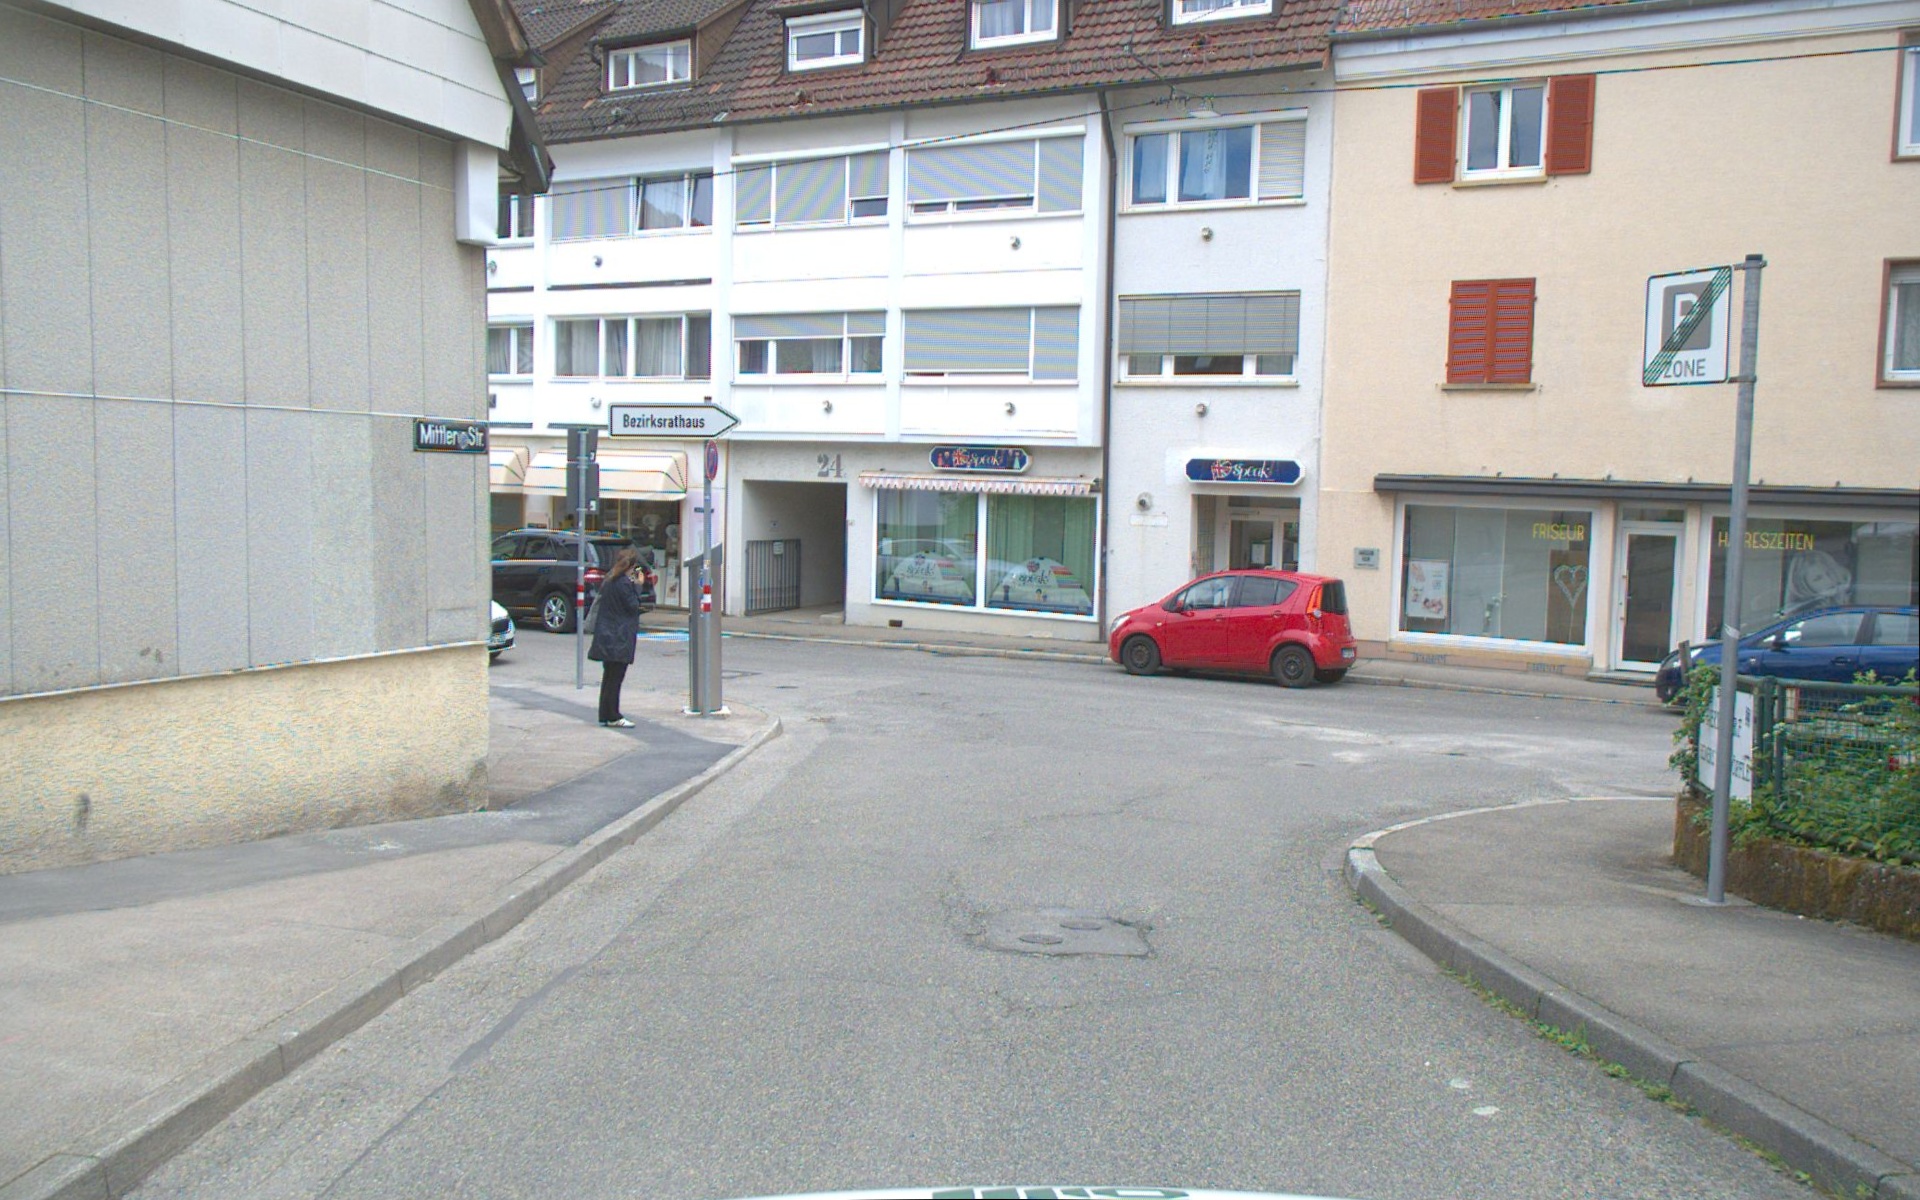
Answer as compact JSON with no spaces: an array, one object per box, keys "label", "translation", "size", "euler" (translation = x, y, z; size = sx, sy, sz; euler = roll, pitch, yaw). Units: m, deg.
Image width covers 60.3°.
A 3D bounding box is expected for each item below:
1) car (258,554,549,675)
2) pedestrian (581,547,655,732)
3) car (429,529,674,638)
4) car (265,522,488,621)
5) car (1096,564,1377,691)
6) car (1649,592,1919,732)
[{"label":"car","translation":[-8.443,0.156,25.061],"size":[4.201,1.485,1.797],"euler":[3,6,29]},{"label":"pedestrian","translation":[-3.254,0.368,15.756],"size":[0.635,1.714,0.603],"euler":[2,1,-11]},{"label":"car","translation":[-7.582,-0.356,30.615],"size":[4.275,1.810,1.943],"euler":[2,2,31]},{"label":"car","translation":[-11.801,-0.635,33.394],"size":[4.282,1.741,1.937],"euler":[4,4,30]},{"label":"car","translation":[3.993,0.344,24.030],"size":[3.617,1.583,1.693],"euler":[3,2,32]},{"label":"car","translation":[10.584,0.735,20.086],"size":[3.837,1.475,1.693],"euler":[3,1,32]}]
